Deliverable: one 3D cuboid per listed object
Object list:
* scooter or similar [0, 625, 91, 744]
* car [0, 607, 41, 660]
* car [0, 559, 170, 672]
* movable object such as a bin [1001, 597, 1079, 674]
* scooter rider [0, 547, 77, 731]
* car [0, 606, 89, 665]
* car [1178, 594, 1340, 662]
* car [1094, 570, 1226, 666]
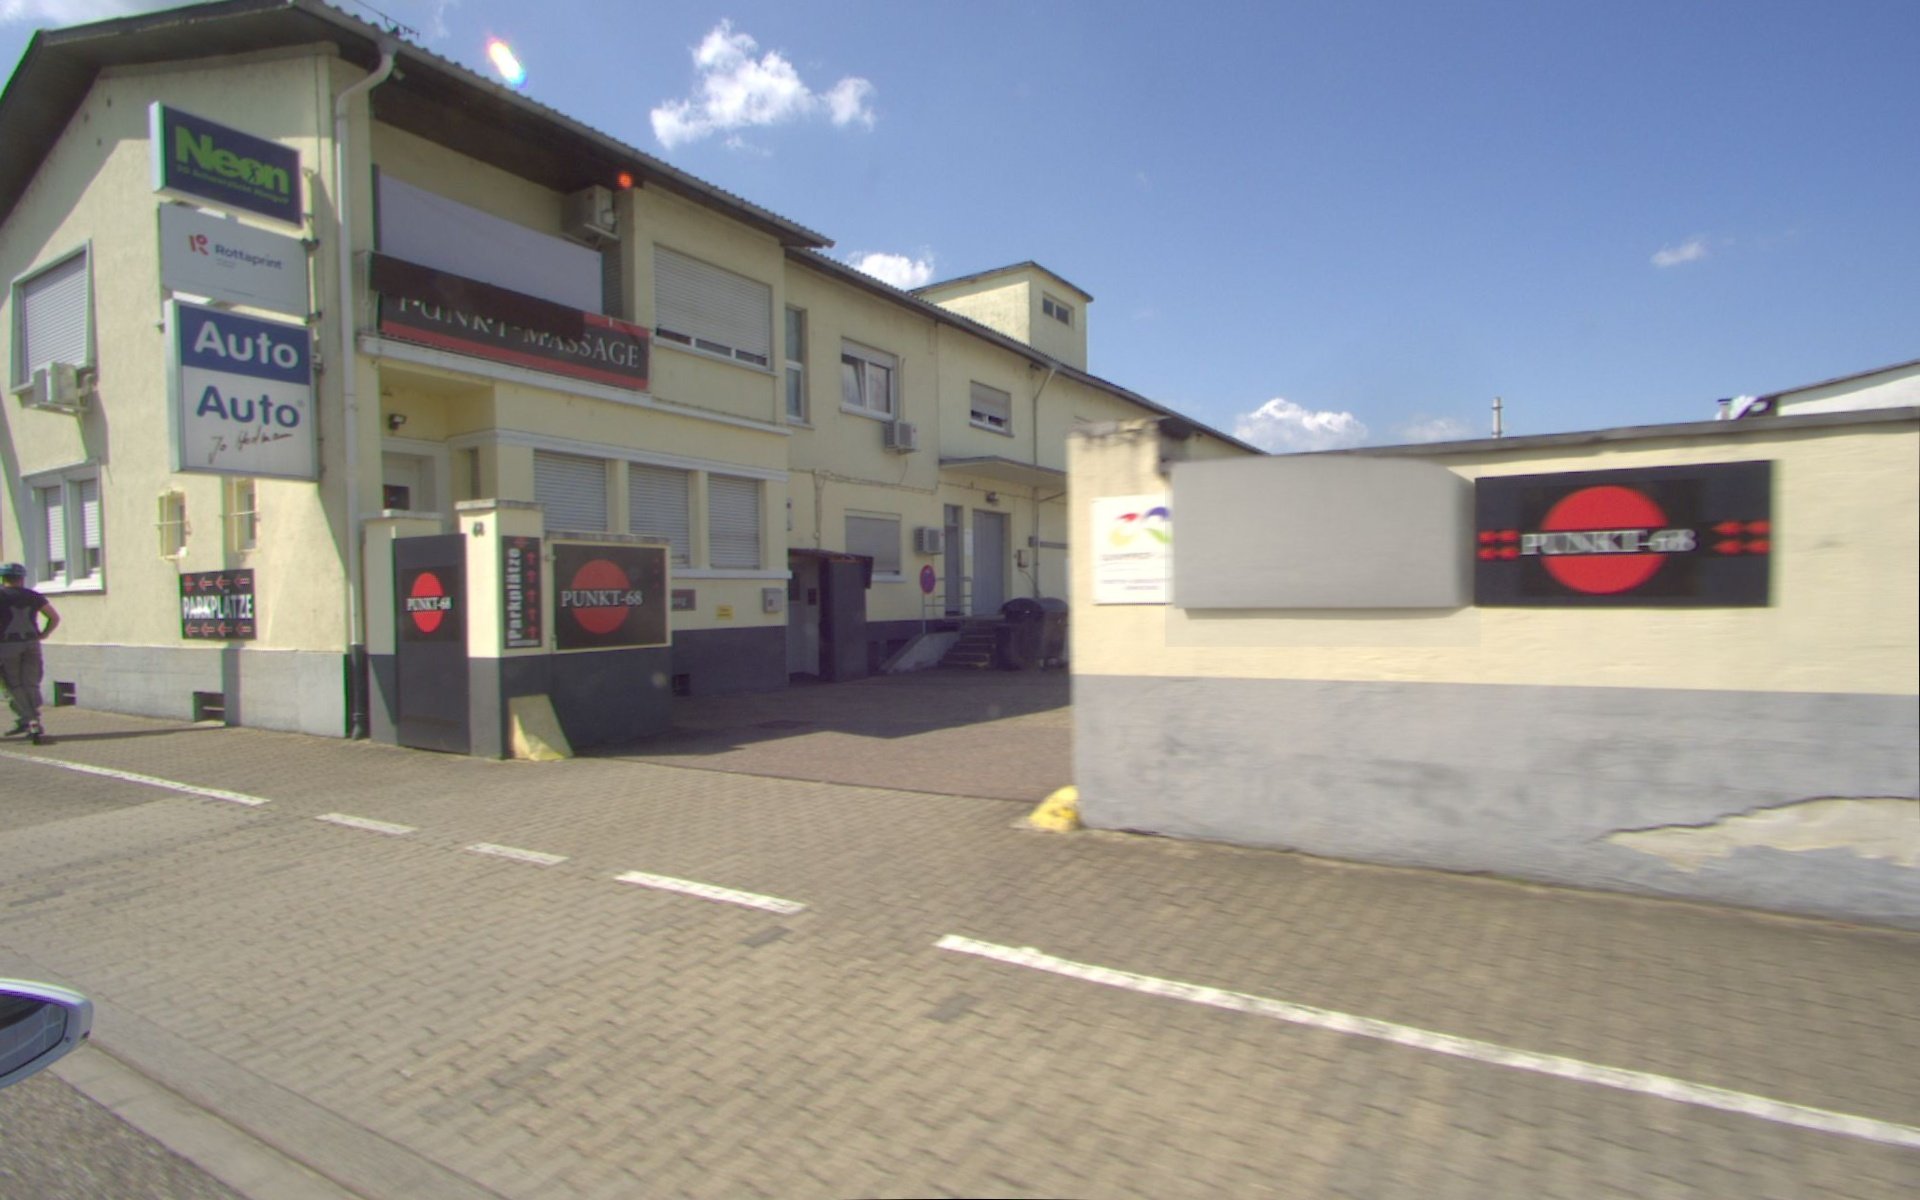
[{"bbox_3d":[-10.270,0.904,11.047,1.588,1.211,0.539,-1,2,32],"label":"scooter or similar"},{"bbox_3d":[-28.880,0.997,28.481,3.958,1.516,1.734,-1,0,-43],"label":"car"},{"bbox_3d":[-22.482,0.365,24.484,2.122,2.607,4.525,-1,0,34],"label":"car"},{"bbox_3d":[1.656,0.696,20.644,0.987,1.473,1.488,4,3,32],"label":"movable object such as a bin"},{"bbox_3d":[-10.574,0.410,11.245,0.774,1.991,0.715,2,4,33],"label":"scooter rider"},{"bbox_3d":[-25.117,0.926,25.517,1.798,1.450,4.165,-1,0,39],"label":"car"},{"bbox_3d":[8.153,0.696,27.691,1.970,1.681,4.167,-1,1,-28],"label":"car"},{"bbox_3d":[4.801,0.405,23.970,2.559,2.144,1.989,0,0,33],"label":"car"}]
